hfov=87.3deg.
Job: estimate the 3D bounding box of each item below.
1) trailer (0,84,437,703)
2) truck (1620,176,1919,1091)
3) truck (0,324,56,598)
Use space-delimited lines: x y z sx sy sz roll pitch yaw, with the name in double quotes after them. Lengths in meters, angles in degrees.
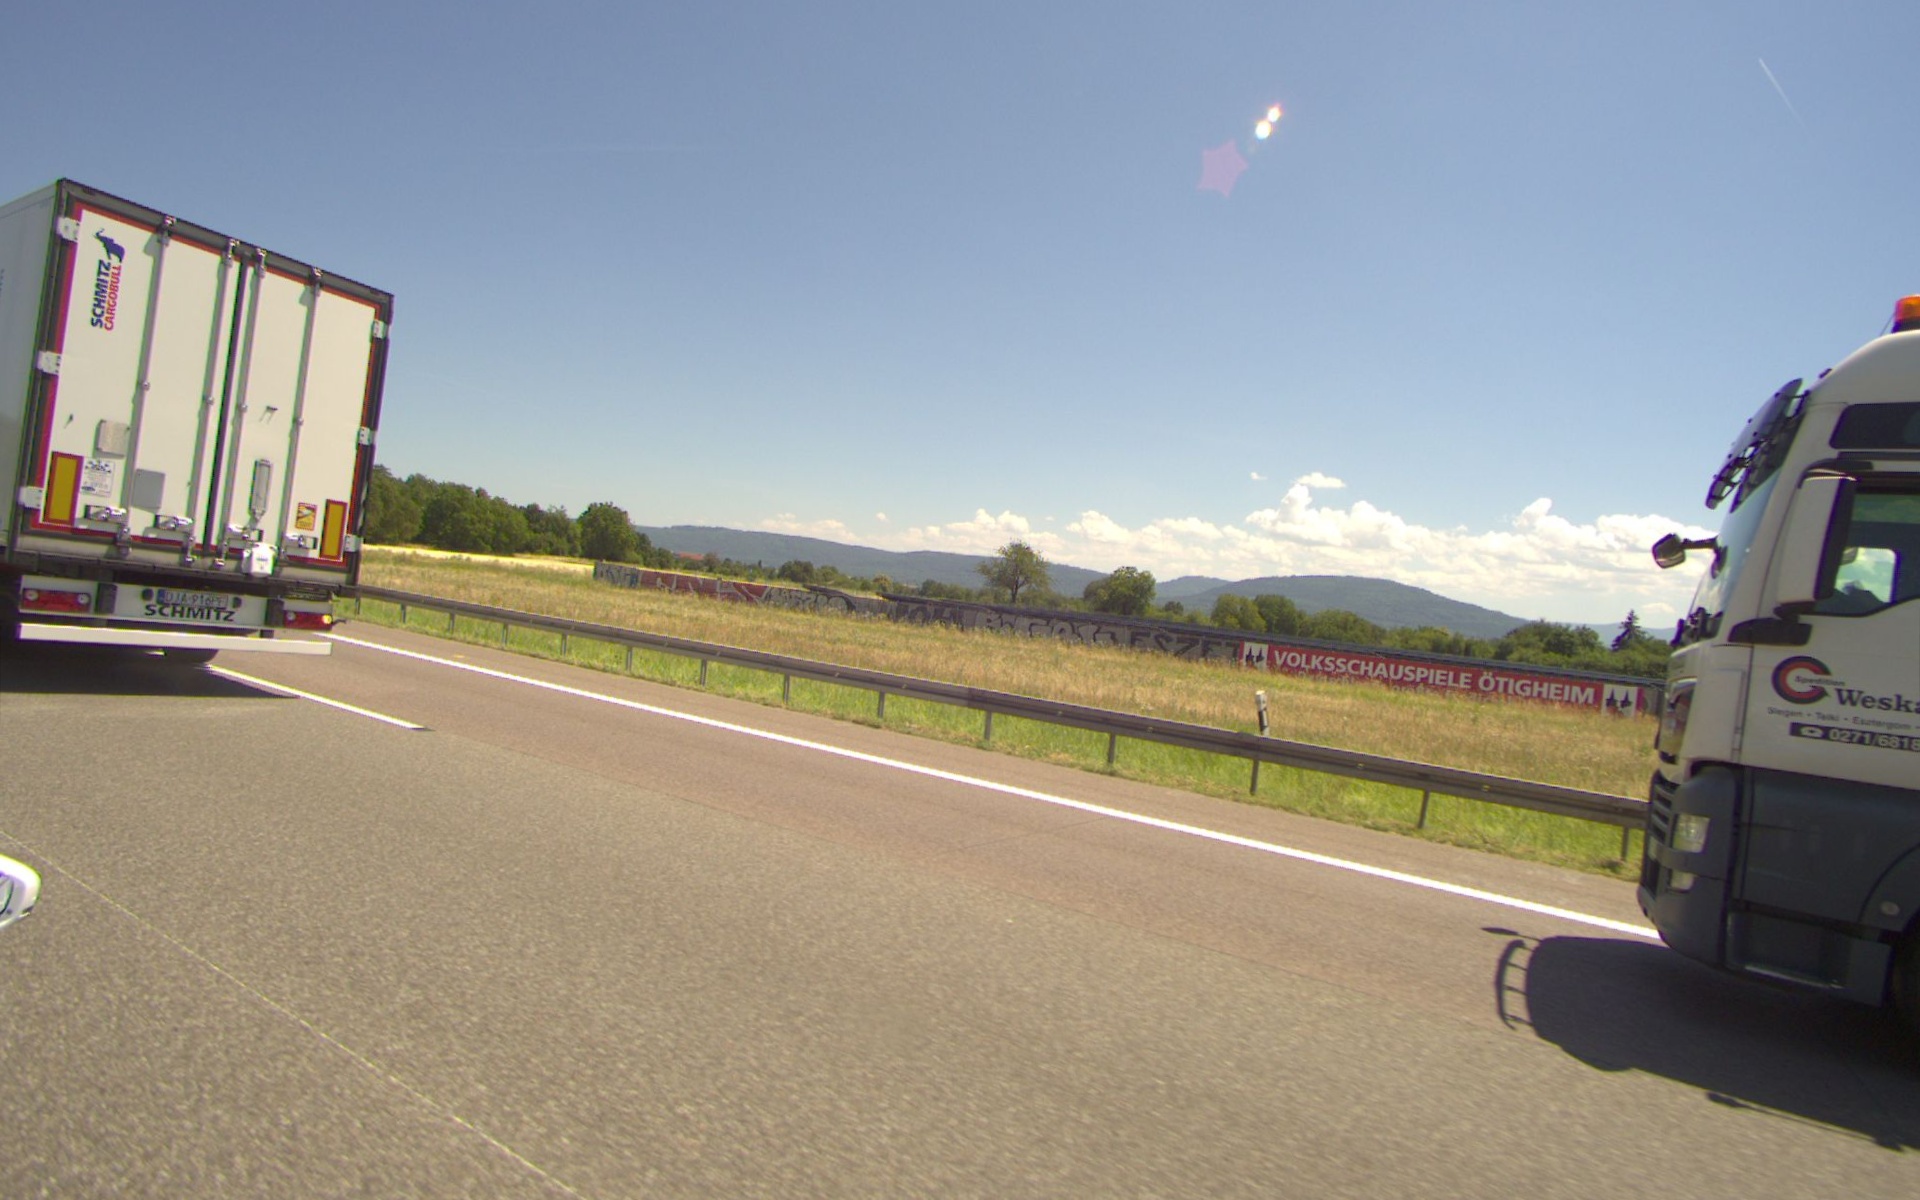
-12.024 -2.092 12.694 13.761 4.712 2.905 6 -1 34 "trailer"
6.573 0.389 4.989 5.005 4.306 2.605 7 -1 32 "truck"
-17.927 -2.546 16.642 4.895 4.306 2.912 7 -1 33 "truck"
